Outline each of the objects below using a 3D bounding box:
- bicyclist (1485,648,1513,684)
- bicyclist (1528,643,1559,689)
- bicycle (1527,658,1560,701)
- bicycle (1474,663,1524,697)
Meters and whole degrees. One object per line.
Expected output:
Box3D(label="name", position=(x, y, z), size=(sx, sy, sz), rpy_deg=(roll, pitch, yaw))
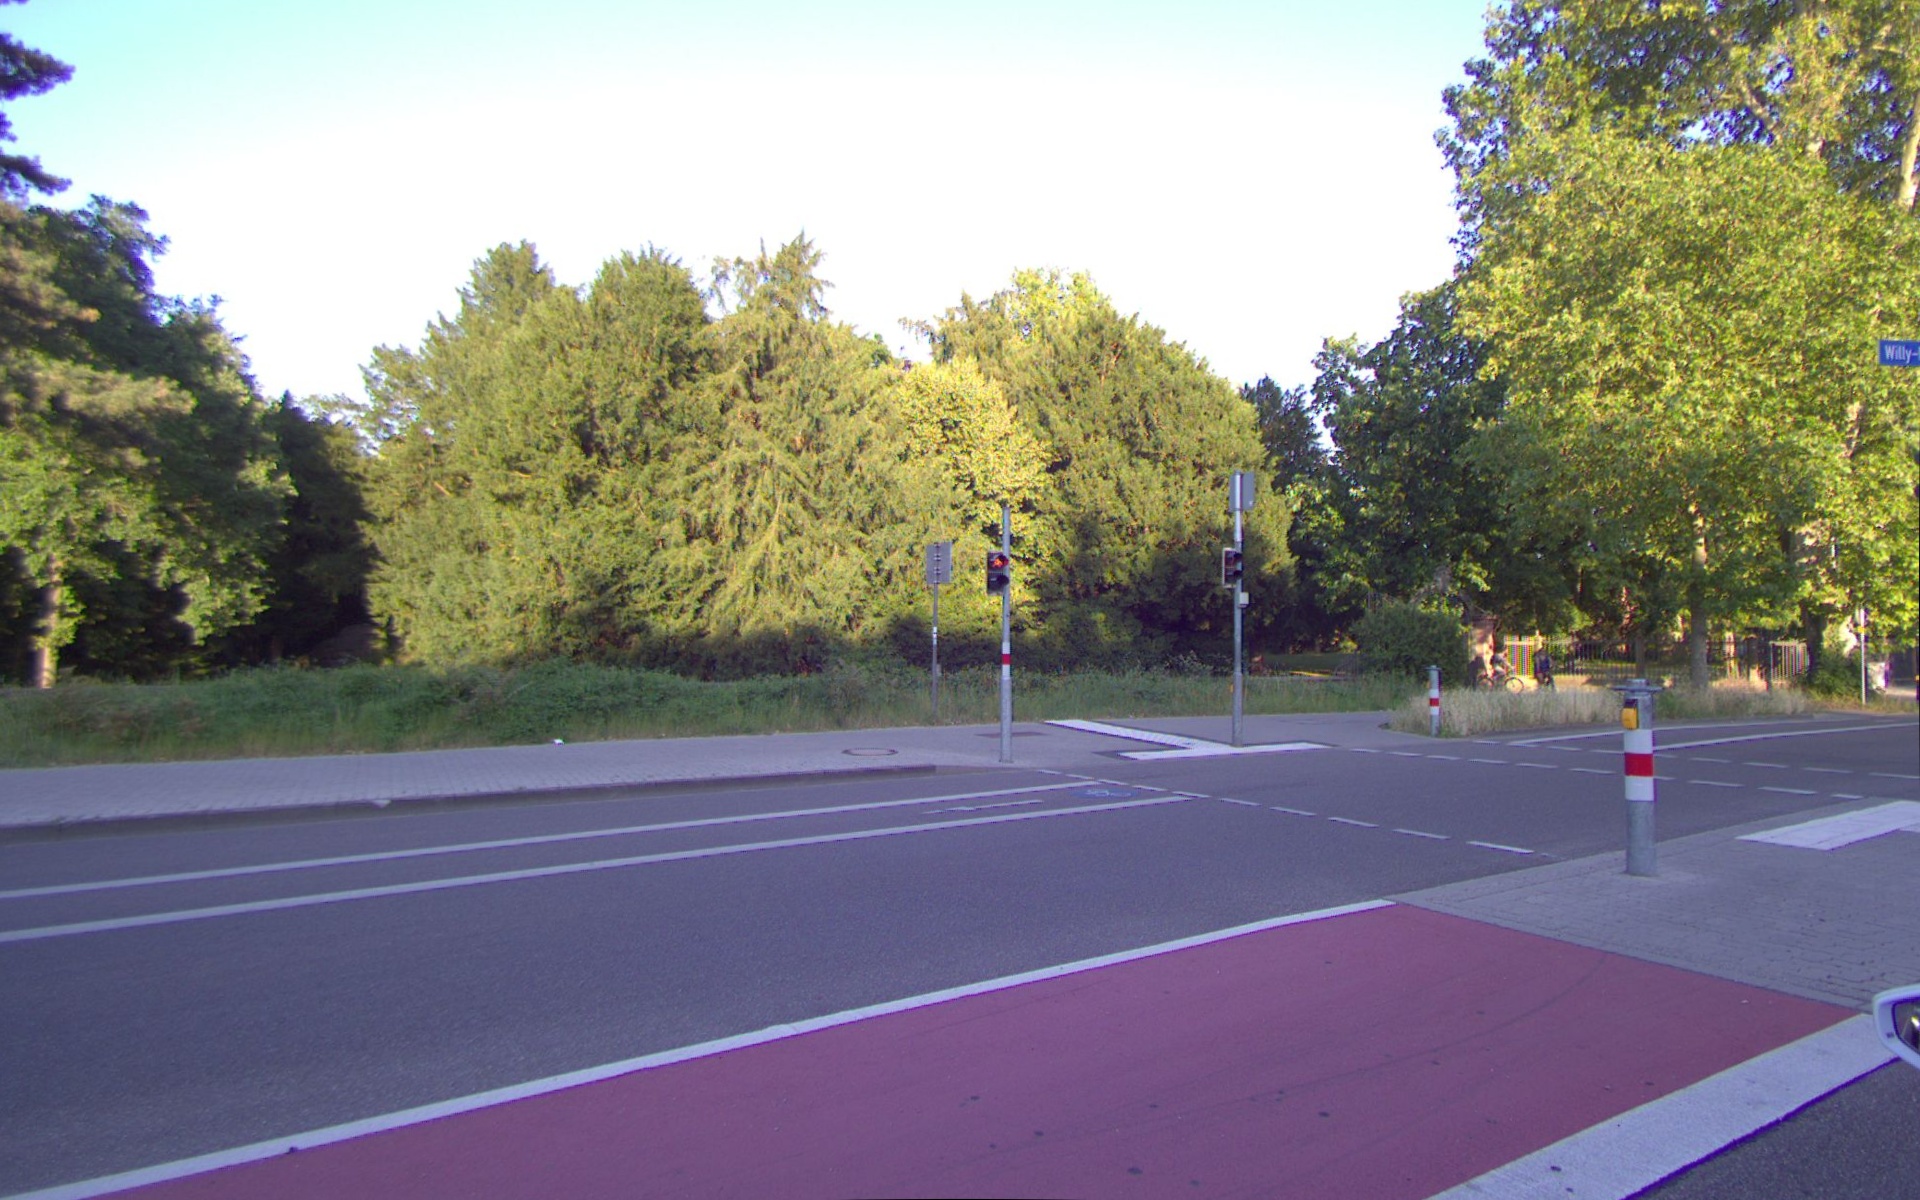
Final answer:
Box3D(label="bicyclist", position=(20.626, 2.517, 38.440), size=(0.827, 1.379, 0.570), rpy_deg=(-1, -3, 41))
Box3D(label="bicyclist", position=(18.577, 2.088, 31.986), size=(0.777, 1.445, 0.891), rpy_deg=(-1, -2, 27))
Box3D(label="bicycle", position=(18.503, 2.493, 31.870), size=(0.777, 1.273, 1.978), rpy_deg=(-1, -3, 27))
Box3D(label="bicycle", position=(20.610, 3.036, 38.401), size=(1.608, 1.245, 0.570), rpy_deg=(-2, -3, 41))
